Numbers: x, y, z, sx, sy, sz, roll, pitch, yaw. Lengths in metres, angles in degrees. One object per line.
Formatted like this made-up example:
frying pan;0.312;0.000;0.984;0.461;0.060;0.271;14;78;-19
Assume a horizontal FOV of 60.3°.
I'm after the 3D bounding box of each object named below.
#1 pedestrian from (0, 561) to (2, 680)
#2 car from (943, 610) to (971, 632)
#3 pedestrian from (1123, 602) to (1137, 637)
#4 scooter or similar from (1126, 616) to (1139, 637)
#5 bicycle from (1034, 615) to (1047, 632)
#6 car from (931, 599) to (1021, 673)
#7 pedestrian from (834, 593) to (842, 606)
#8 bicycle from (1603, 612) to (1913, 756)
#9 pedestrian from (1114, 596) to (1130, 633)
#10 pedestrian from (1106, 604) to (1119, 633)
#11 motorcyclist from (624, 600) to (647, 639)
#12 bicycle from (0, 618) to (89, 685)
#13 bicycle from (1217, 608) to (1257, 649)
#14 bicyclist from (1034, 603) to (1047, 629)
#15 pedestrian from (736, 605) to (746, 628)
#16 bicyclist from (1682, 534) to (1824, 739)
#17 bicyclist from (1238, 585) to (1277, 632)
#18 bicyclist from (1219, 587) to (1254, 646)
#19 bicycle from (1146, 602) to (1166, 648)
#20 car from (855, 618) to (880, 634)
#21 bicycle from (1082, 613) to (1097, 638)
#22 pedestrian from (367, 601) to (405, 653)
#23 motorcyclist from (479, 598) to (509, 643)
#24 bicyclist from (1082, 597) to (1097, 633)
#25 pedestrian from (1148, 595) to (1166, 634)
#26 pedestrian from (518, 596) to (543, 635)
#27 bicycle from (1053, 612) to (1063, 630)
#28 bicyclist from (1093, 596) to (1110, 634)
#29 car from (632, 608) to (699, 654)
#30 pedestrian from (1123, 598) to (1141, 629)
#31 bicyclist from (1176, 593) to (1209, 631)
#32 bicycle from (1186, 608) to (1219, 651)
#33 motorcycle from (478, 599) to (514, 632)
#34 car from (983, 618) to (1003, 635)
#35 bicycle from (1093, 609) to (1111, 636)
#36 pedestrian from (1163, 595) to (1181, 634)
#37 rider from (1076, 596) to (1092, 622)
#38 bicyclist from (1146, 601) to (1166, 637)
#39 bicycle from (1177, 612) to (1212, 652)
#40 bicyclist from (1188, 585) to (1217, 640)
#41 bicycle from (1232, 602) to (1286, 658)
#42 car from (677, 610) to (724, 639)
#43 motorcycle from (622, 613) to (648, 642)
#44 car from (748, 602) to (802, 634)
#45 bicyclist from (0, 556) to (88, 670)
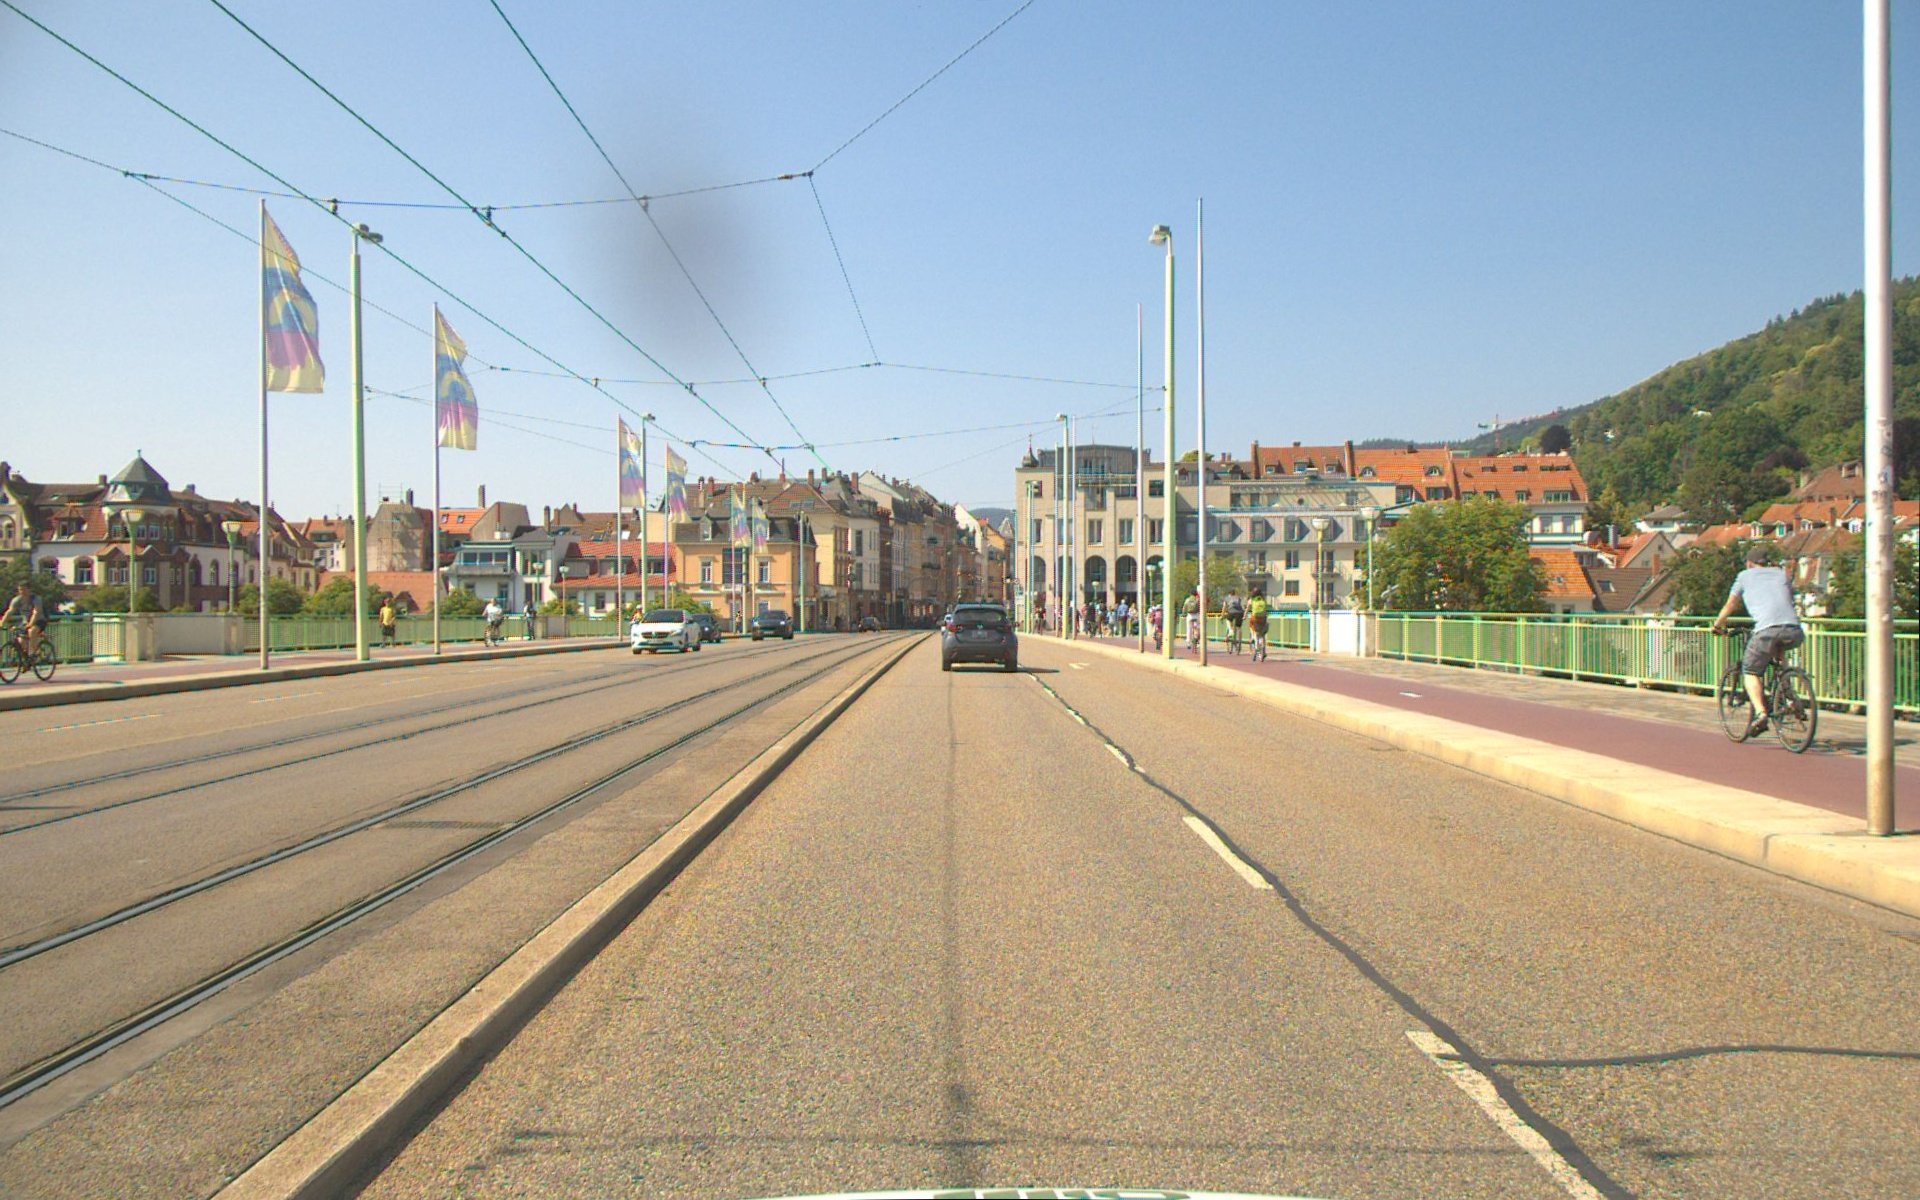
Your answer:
pedestrian;-17.121;0.365;28.009;1.075;2.049;1.294;0;0;-3
car;-0.247;1.527;119.248;1.768;1.494;3.997;-2;0;-3
pedestrian;8.873;1.003;86.321;0.629;1.787;0.866;0;0;-2
scooter or similar;8.909;1.370;85.439;0.576;1.088;0.865;0;0;-2
bicycle;4.917;1.413;100.897;0.640;0.998;2.178;-2;-1;0
car;0.329;0.792;38.425;1.872;1.567;3.998;0;1;-3
pedestrian;-12.940;-0.080;175.674;0.747;1.422;0.663;0;0;2
bicycle;7.158;0.687;15.194;0.777;1.115;3.741;-1;0;-5
pedestrian;8.157;0.714;83.429;0.698;1.842;0.848;0;0;-1
pedestrian;7.766;0.932;84.256;0.601;1.491;0.848;0;0;-1
motorcyclist;-13.452;0.787;68.618;0.811;1.601;0.832;0;0;-1
bicycle;-16.388;0.906;29.597;0.577;1.116;2.111;0;0;-3
bicycle;7.266;0.737;43.501;0.606;1.056;2.265;0;0;-2
bicyclist;4.904;0.990;100.968;0.640;1.594;1.337;-2;-1;0
pedestrian;-17.575;1.304;132.652;0.747;1.818;0.663;0;0;2
bicyclist;7.159;0.311;14.982;0.660;1.774;1.149;-1;0;-5
bicyclist;6.803;0.190;37.898;0.653;1.063;0.979;0;0;-5
bicyclist;7.278;0.430;43.515;0.720;1.527;0.980;0;0;-2
bicycle;6.038;0.756;50.899;0.523;1.391;2.218;0;0;9
car;-9.330;2.616;166.978;1.951;1.505;4.002;0;0;4
bicycle;6.321;1.223;81.073;0.515;1.199;2.028;0;0;-2
pedestrian;-19.130;0.895;55.166;0.880;1.687;1.029;0;0;2
motorcyclist;-16.540;0.713;58.684;0.784;1.576;1.069;0;0;-1
bicyclist;6.334;0.735;80.805;0.615;1.719;0.868;0;0;-2
pedestrian;8.201;0.606;68.892;0.587;1.614;0.866;0;0;-2
pedestrian;-19.057;0.685;73.444;0.813;1.752;1.094;0;0;0
bicycle;6.478;1.368;109.378;0.652;1.199;2.029;0;0;3
bicyclist;6.476;0.671;75.660;0.643;1.705;0.868;0;0;-2
car;-9.814;0.998;55.385;1.956;1.434;4.540;0;0;-7
pedestrian;9.828;0.761;94.421;0.911;1.792;0.937;0;0;-1
bicyclist;6.423;0.326;45.777;0.720;1.048;1.175;0;0;-2
bicycle;7.468;0.885;51.061;0.606;1.293;2.215;0;0;-2
motorcycle;-16.485;0.545;58.769;0.686;1.129;2.178;0;0;-1
car;3.090;2.453;152.541;1.766;1.494;4.001;-2;0;2
bicycle;6.502;1.010;75.650;0.581;1.199;1.939;0;0;-2
pedestrian;8.843;0.619;68.952;0.587;1.614;0.866;0;0;-2
rider;7.442;0.536;99.496;0.871;1.531;0.841;0;0;-2
bicyclist;6.053;0.583;51.102;0.586;1.121;0.853;0;0;9
bicycle;6.448;0.865;45.638;0.606;1.056;2.050;0;0;-2
bicyclist;7.487;0.384;51.054;0.720;1.664;0.866;0;0;-2
bicycle;6.802;0.677;37.656;0.681;1.214;2.077;-1;-1;-5
car;-12.742;1.183;81.443;1.722;1.386;4.382;0;0;-1
motorcycle;-13.459;1.130;68.476;0.686;1.129;2.178;0;0;-1
car;-9.833;0.931;88.334;1.951;1.627;4.341;0;0;6
bicyclist;-16.398;0.222;29.543;1.075;1.995;1.128;0;0;-3
